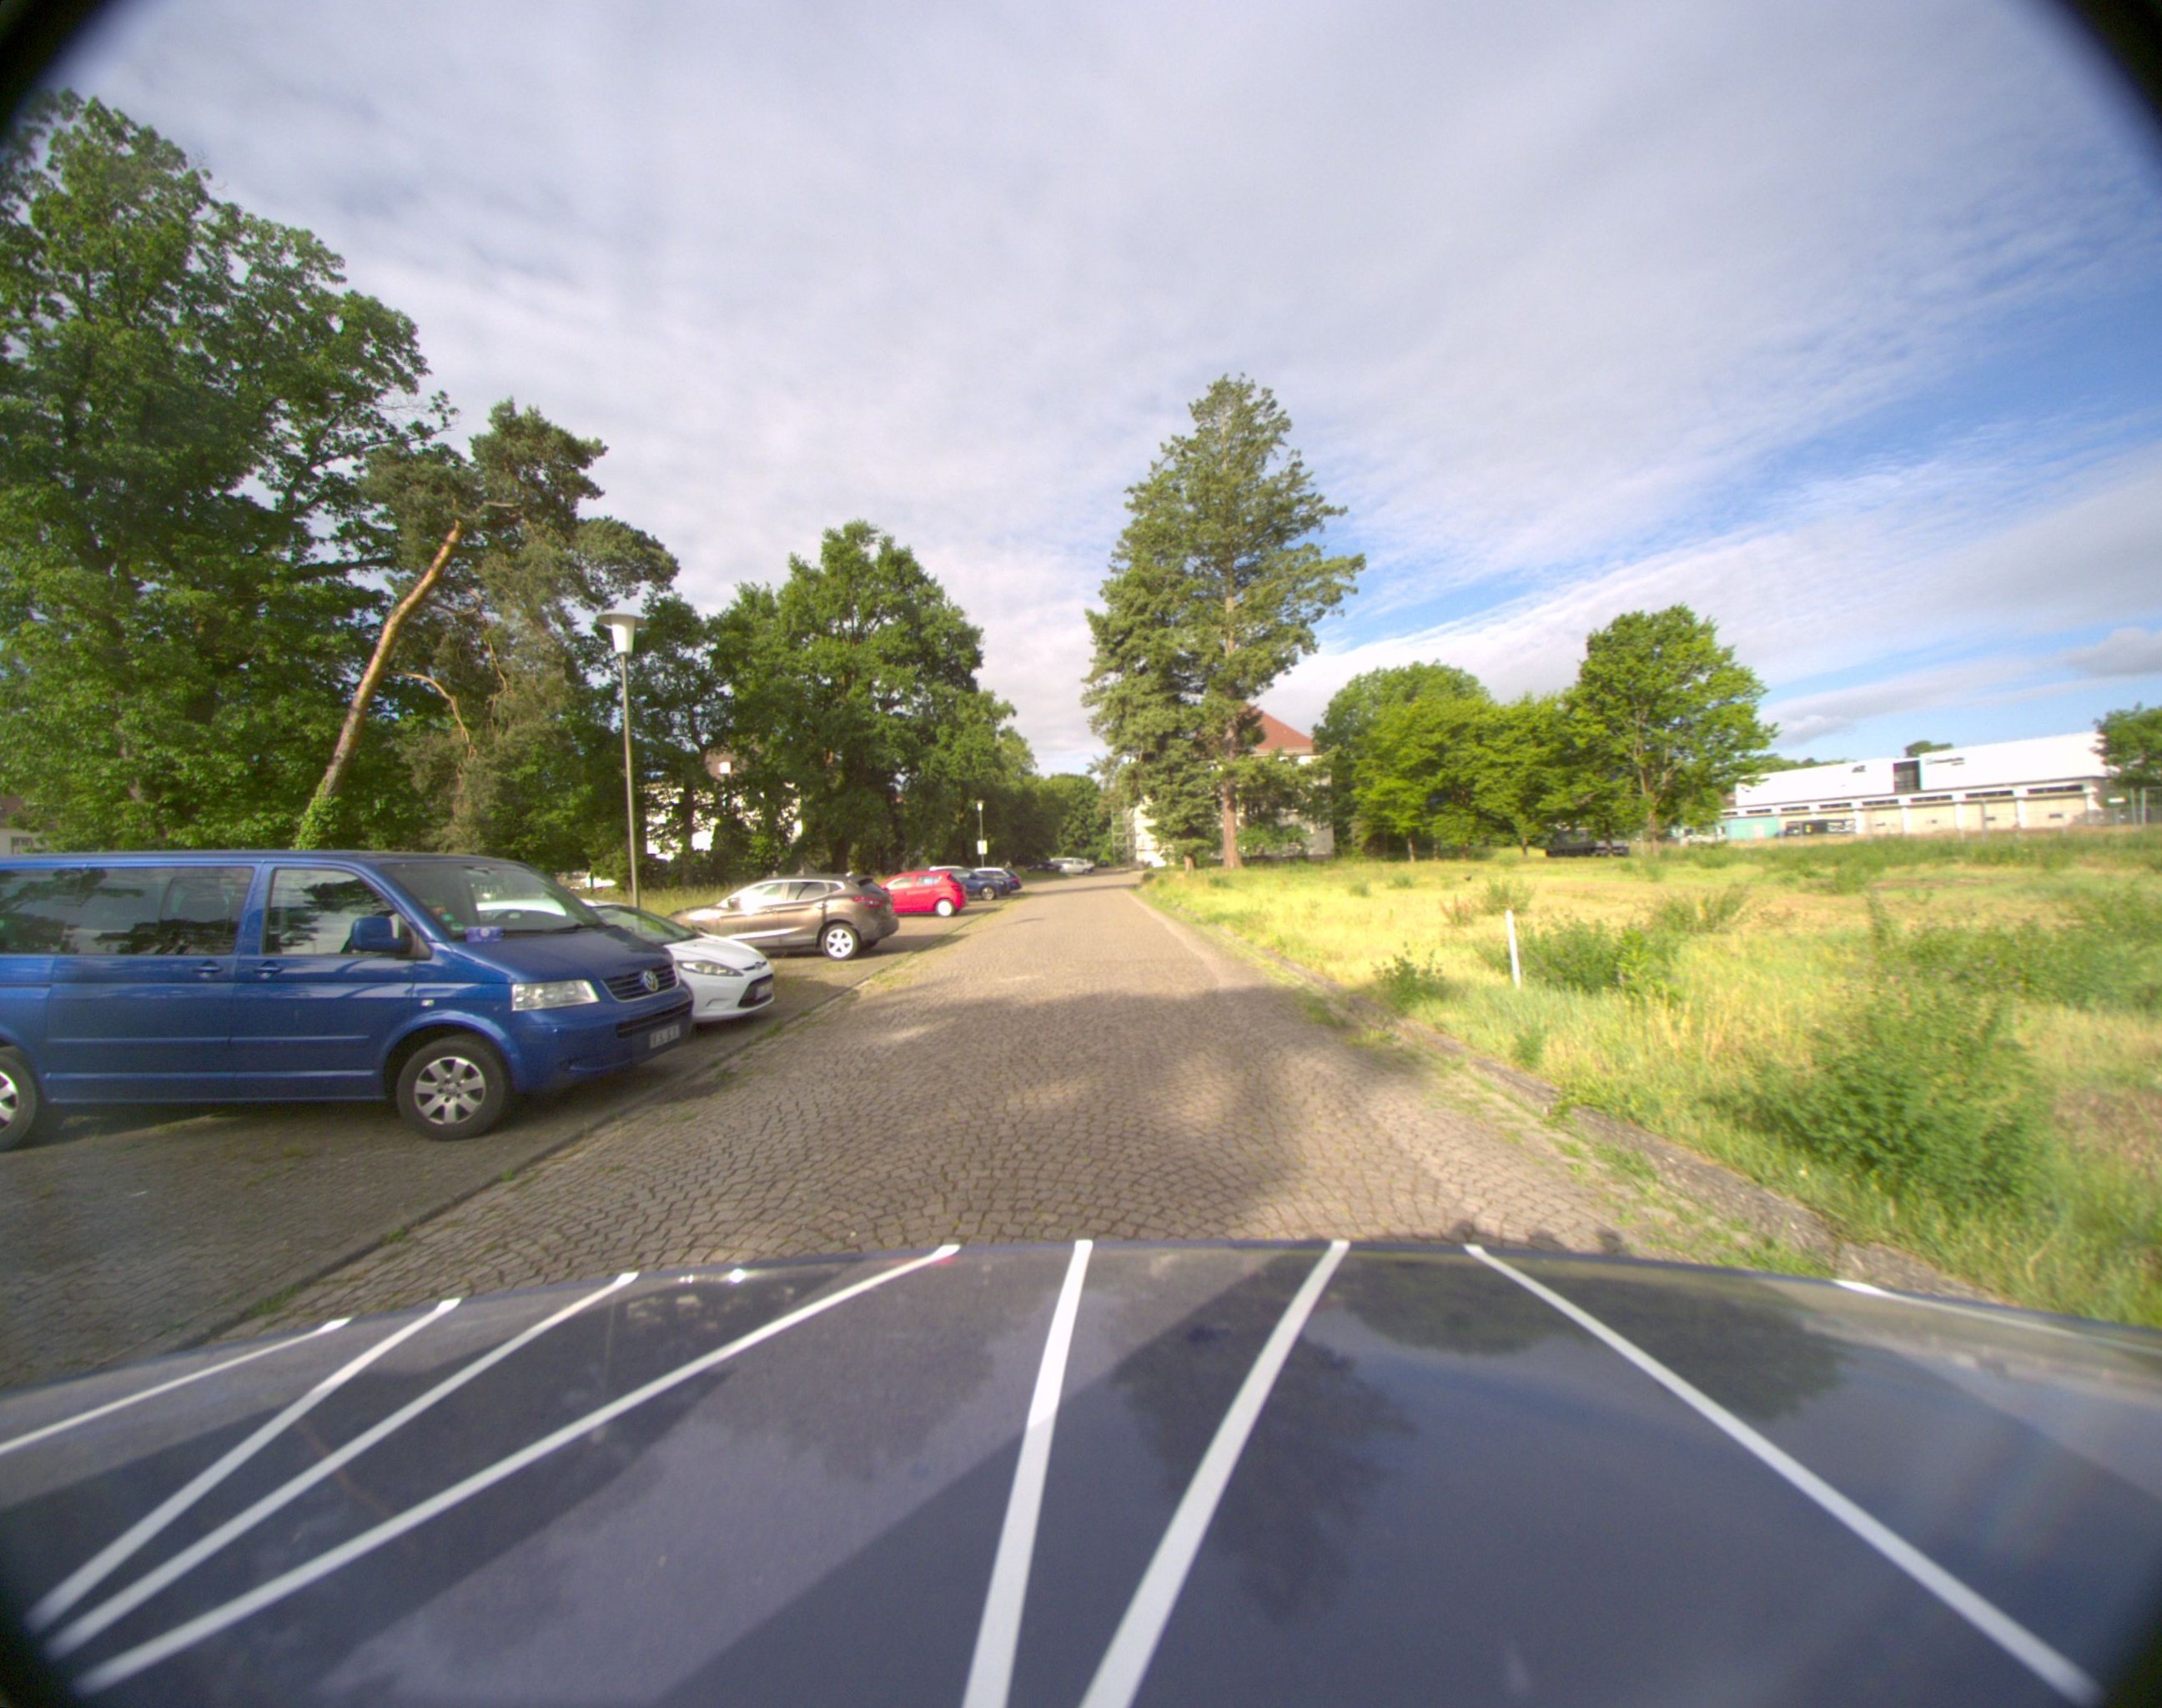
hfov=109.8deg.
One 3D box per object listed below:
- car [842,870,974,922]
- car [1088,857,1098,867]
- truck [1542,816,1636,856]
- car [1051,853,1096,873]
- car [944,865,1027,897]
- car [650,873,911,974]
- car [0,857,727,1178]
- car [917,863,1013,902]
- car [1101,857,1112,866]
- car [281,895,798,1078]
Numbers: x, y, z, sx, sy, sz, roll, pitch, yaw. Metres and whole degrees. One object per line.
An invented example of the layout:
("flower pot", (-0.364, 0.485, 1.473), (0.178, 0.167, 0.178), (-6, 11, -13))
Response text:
("car", (-5.604, 1.356, 24.895), (3.887, 1.464, 1.686), (-2, 1, -1))
("car", (2.491, 1.612, 154.881), (1.874, 1.887, 4.000), (-3, 1, 1))
("truck", (36.994, -1.233, 55.668), (2.417, 2.571, 6.960), (-3, 0, 3))
("car", (-0.845, 1.039, 88.801), (5.078, 2.029, 2.000), (-3, 0, 0))
("car", (-4.972, 1.385, 39.874), (4.035, 1.442, 1.783), (-2, 1, 3))
("car", (-5.617, 1.277, 14.631), (4.201, 1.580, 1.877), (-2, 1, -1))
("car", (-5.557, 1.042, 5.759), (4.745, 1.917, 1.992), (-1, 1, 0))
("car", (-5.312, 1.290, 35.178), (4.136, 1.560, 1.746), (-2, 1, 0))
("car", (5.221, 1.520, 155.083), (1.998, 1.762, 4.108), (-3, 1, 1))
("car", (-5.541, 1.322, 8.275), (4.202, 1.461, 1.807), (-2, 1, -3))
